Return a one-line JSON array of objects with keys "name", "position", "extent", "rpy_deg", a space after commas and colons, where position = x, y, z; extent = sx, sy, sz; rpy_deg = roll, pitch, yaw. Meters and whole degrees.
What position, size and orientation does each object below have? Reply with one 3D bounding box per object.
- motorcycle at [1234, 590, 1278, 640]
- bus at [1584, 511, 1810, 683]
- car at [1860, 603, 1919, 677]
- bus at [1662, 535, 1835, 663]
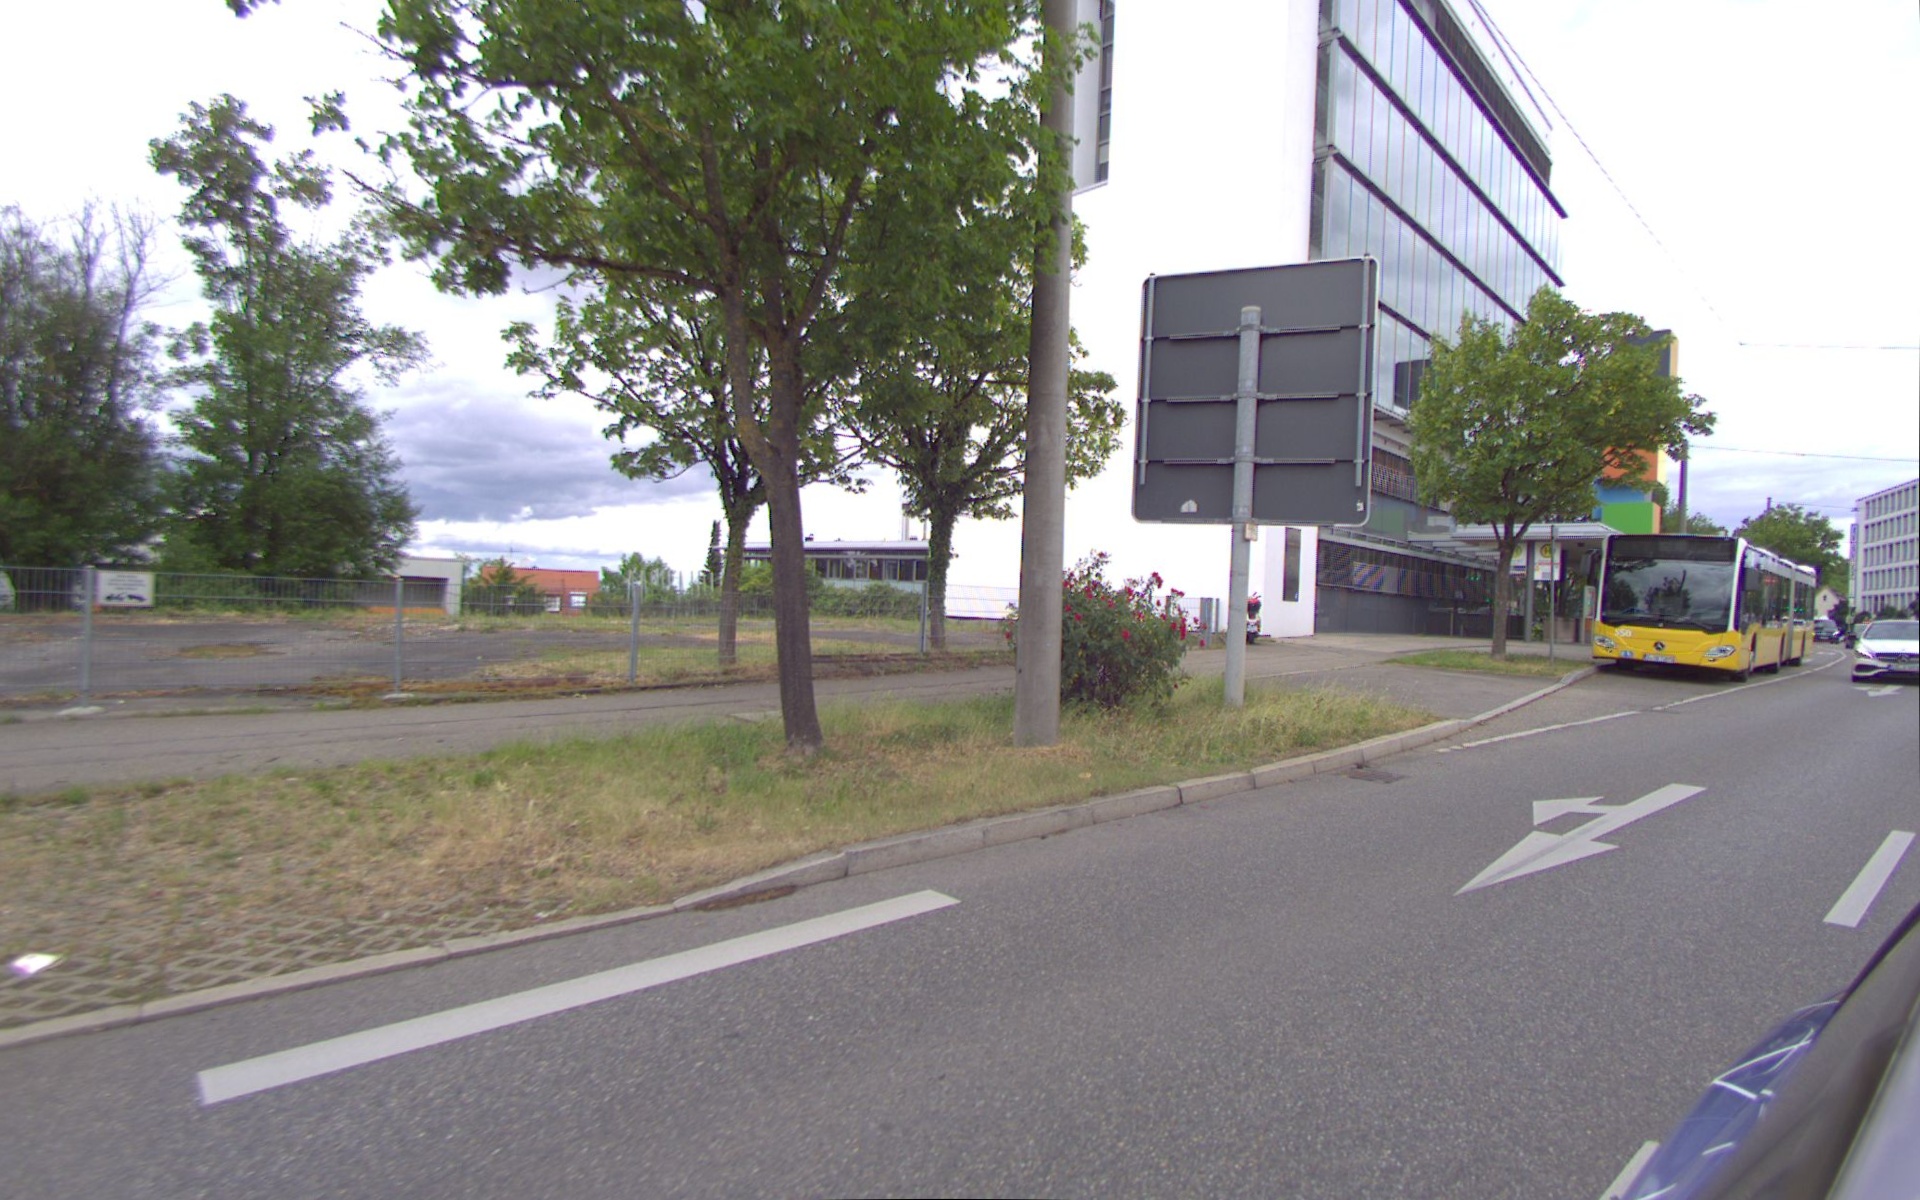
[{"name": "motorcycle", "position": [7.138, 0.329, 24.449], "extent": [0.812, 1.129, 1.736], "rpy_deg": [2, 1, 11]}, {"name": "bus", "position": [17.657, -0.099, 23.864], "extent": [2.983, 3.281, 9.709], "rpy_deg": [2, 1, 44]}, {"name": "car", "position": [22.234, 0.889, 23.457], "extent": [1.868, 1.524, 4.697], "rpy_deg": [3, 2, 44]}, {"name": "bus", "position": [23.897, -0.060, 30.417], "extent": [3.037, 3.276, 9.188], "rpy_deg": [3, 2, 44]}]
